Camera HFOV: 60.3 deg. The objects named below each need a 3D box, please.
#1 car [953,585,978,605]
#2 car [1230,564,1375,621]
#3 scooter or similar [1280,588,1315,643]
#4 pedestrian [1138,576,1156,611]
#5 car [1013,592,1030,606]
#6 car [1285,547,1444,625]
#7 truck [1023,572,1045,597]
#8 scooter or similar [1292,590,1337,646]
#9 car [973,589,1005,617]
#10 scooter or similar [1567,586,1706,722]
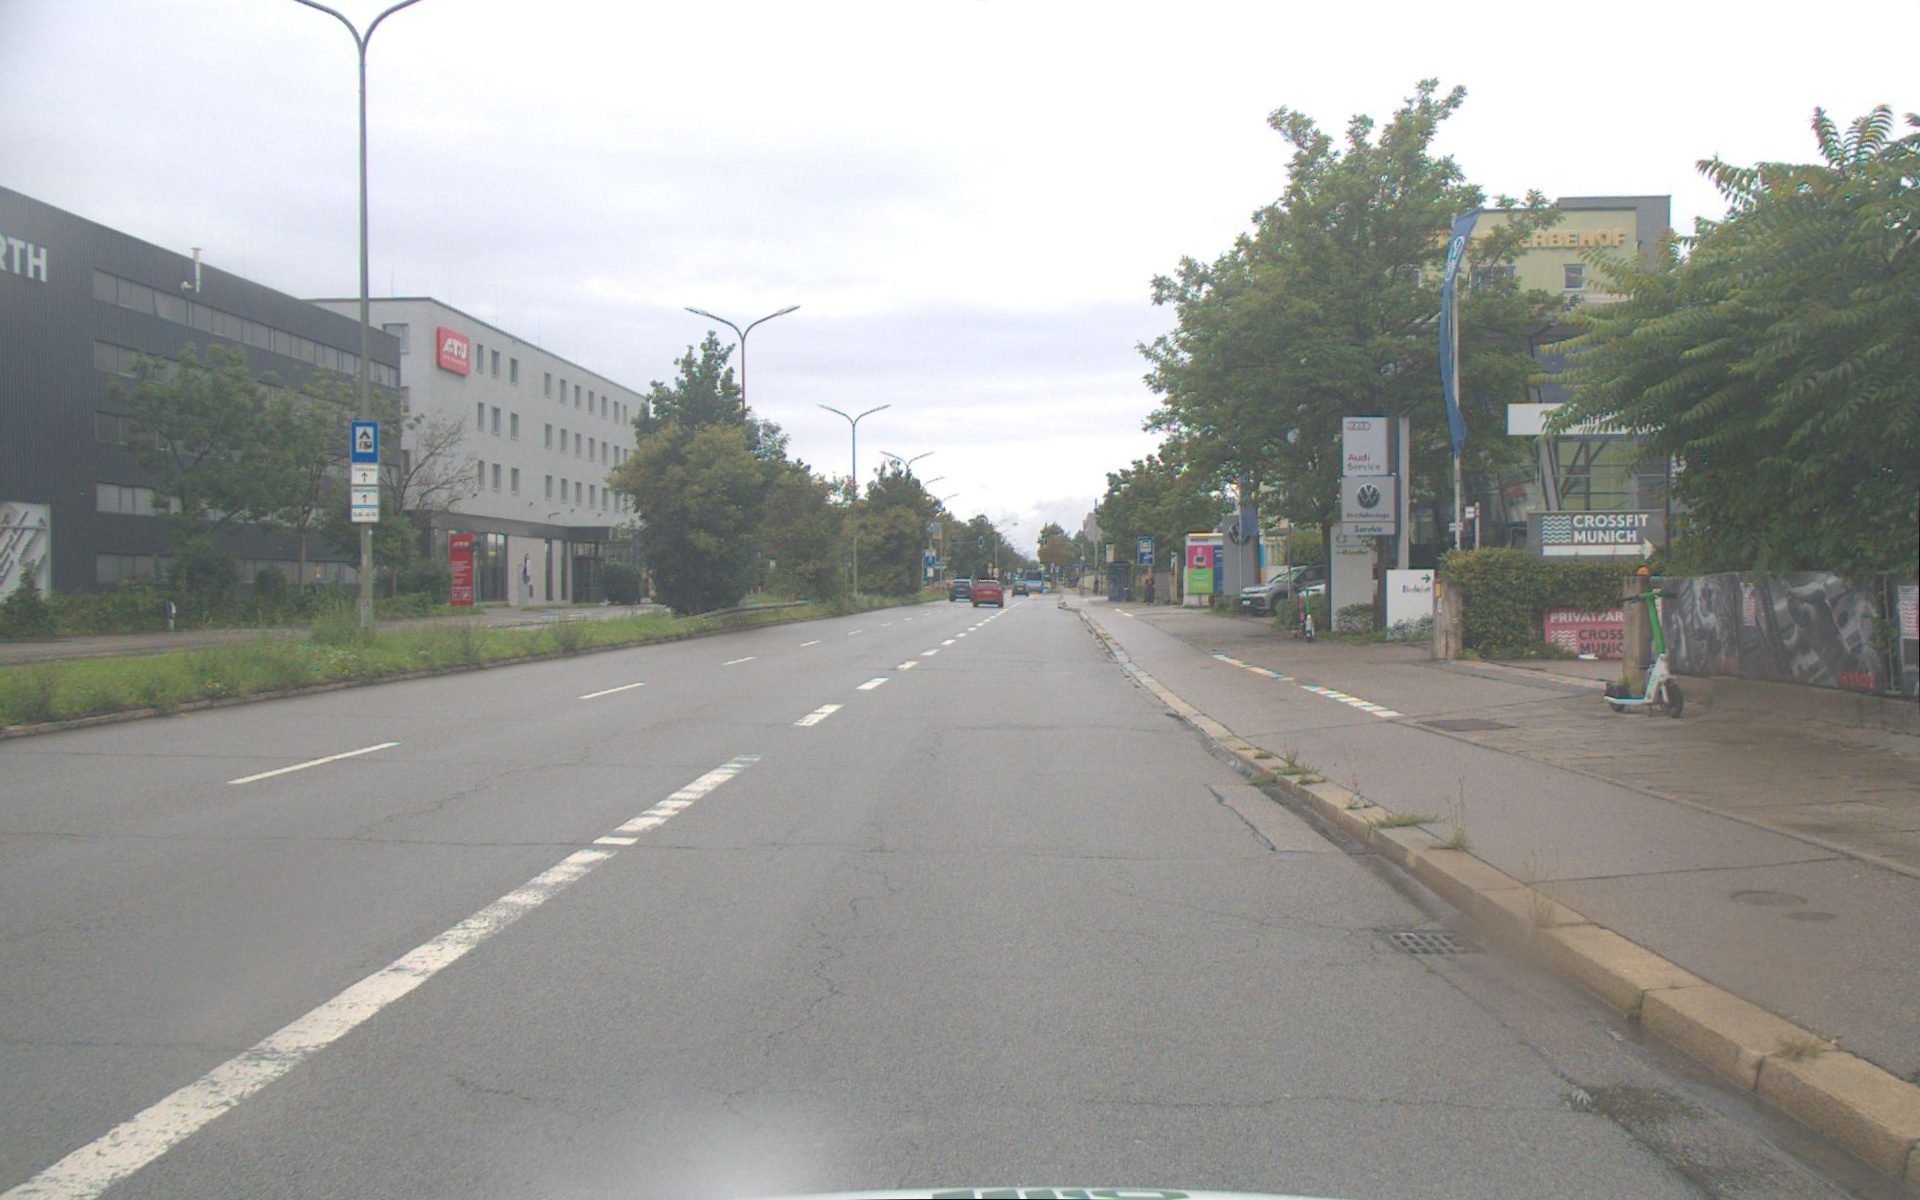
[{"bbox_3d":[0.446,-0.416,125.678,1.766,1.457,4.001,-1,0,2],"label":"car"},{"bbox_3d":[11.946,-0.258,57.781,4.518,1.736,1.997,-2,-1,-18],"label":"car"},{"bbox_3d":[8.073,0.362,39.574,0.485,1.225,1.430,-4,1,0],"label":"scooter or similar"},{"bbox_3d":[9.887,-0.351,87.387,0.743,1.758,0.895,-4,0,0],"label":"pedestrian"},{"bbox_3d":[6.495,-0.141,174.357,1.766,1.458,4.001,0,0,2],"label":"car"},{"bbox_3d":[11.958,-0.389,48.924,4.165,2.049,1.961,-3,-1,27],"label":"car"},{"bbox_3d":[10.122,-2.142,227.882,2.907,3.343,7.917,-1,0,2],"label":"truck"},{"bbox_3d":[7.985,0.405,37.311,0.486,1.225,1.428,-3,0,-6],"label":"scooter or similar"},{"bbox_3d":[1.759,0.160,99.819,1.823,1.646,4.001,0,0,3],"label":"car"},{"bbox_3d":[6.611,0.513,16.246,0.390,1.244,1.636,-3,-1,-10],"label":"scooter or similar"}]
